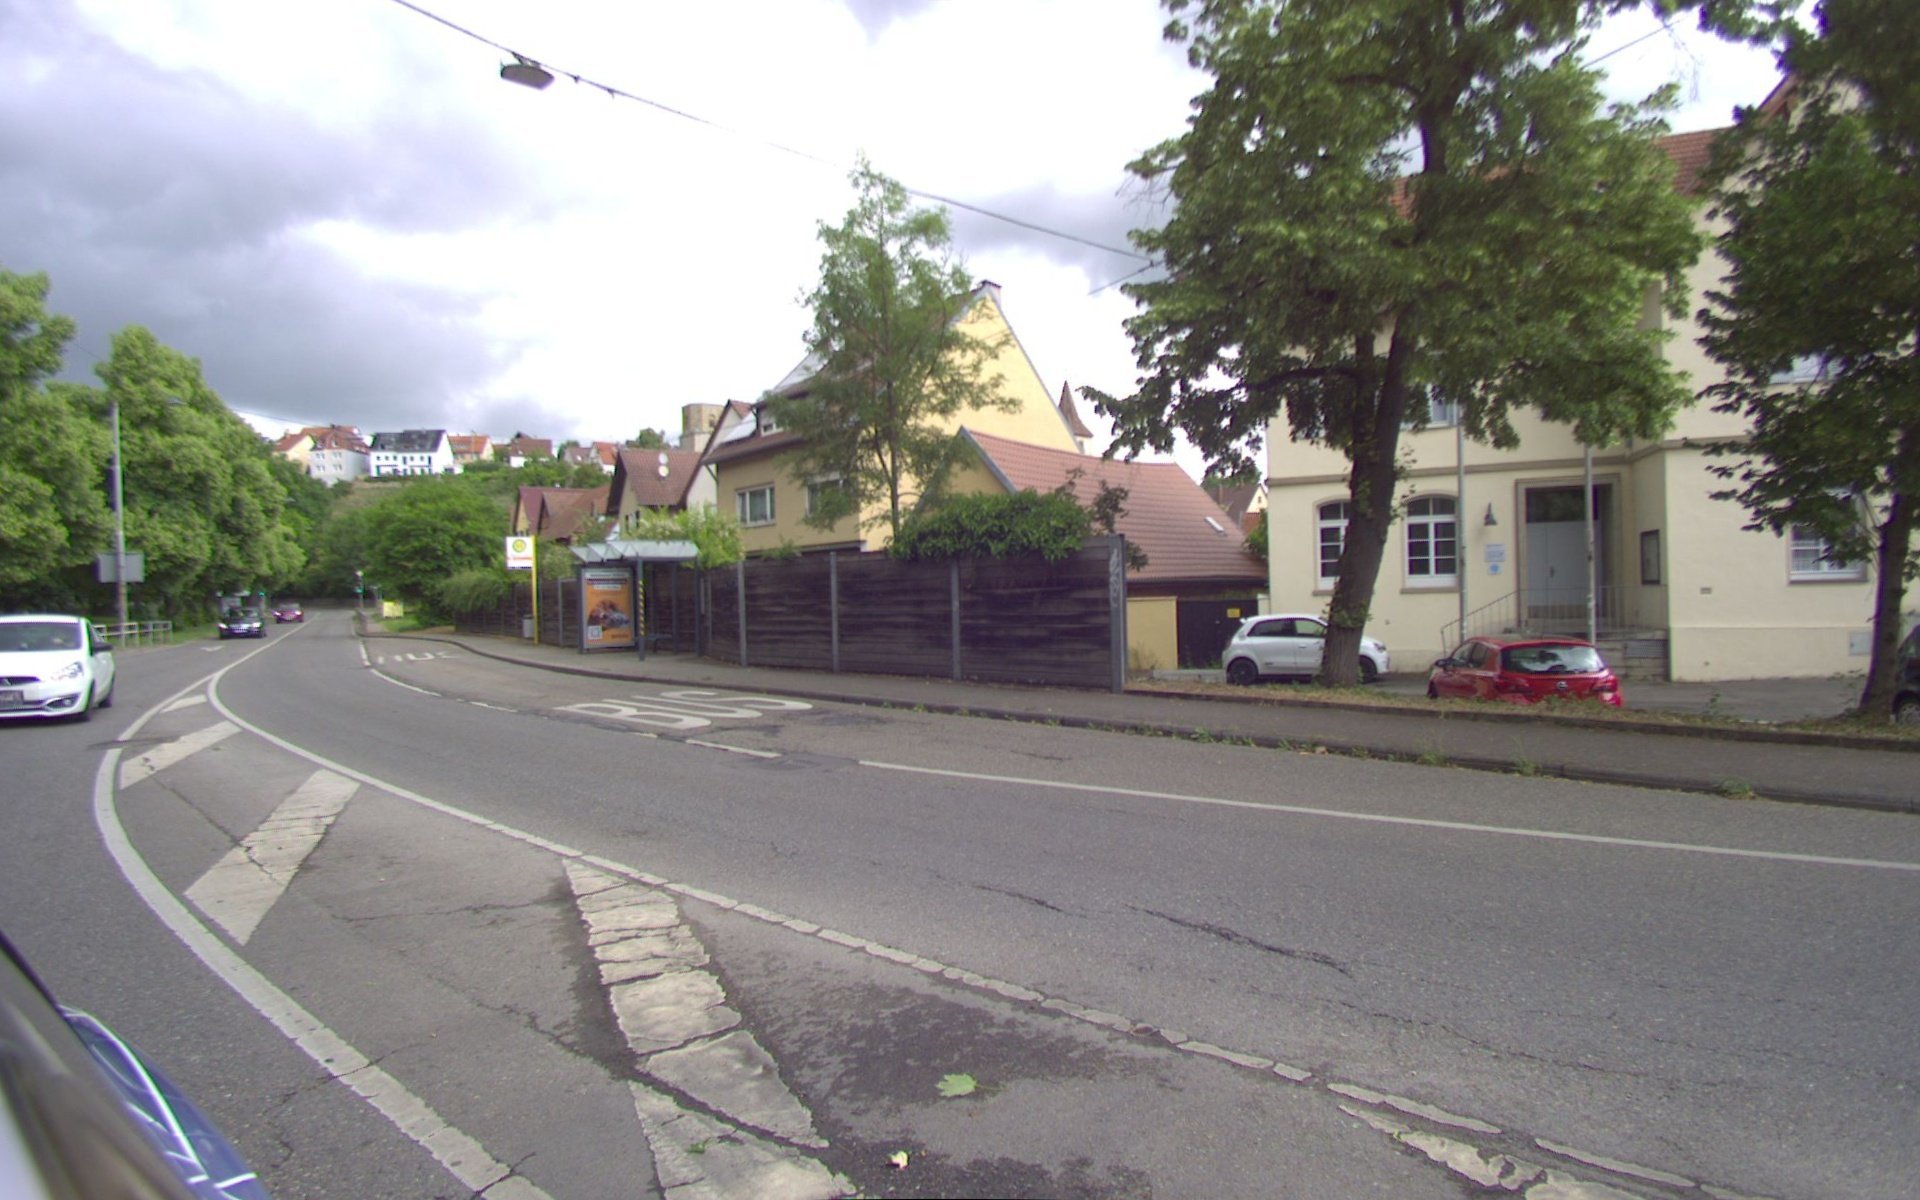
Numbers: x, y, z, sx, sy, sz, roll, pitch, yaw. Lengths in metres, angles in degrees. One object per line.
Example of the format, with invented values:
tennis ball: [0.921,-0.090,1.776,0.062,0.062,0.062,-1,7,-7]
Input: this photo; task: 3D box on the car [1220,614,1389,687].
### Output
car: [7.752,1.107,22.926,3.487,1.528,1.581,-1,0,20]

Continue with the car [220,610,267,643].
car: [-35.916,1.275,50.777,1.696,1.559,3.792,-1,0,-32]

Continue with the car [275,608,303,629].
car: [-57.043,1.533,86.031,1.798,1.685,4.070,-1,0,-31]

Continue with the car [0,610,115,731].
car: [-13.298,0.927,14.410,1.593,1.525,3.614,-1,0,-34]

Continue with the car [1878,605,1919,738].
car: [12.705,0.888,11.587,1.586,1.644,3.093,-1,0,2]

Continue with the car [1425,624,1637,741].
car: [8.131,1.104,14.770,1.590,1.389,3.544,-1,0,10]
